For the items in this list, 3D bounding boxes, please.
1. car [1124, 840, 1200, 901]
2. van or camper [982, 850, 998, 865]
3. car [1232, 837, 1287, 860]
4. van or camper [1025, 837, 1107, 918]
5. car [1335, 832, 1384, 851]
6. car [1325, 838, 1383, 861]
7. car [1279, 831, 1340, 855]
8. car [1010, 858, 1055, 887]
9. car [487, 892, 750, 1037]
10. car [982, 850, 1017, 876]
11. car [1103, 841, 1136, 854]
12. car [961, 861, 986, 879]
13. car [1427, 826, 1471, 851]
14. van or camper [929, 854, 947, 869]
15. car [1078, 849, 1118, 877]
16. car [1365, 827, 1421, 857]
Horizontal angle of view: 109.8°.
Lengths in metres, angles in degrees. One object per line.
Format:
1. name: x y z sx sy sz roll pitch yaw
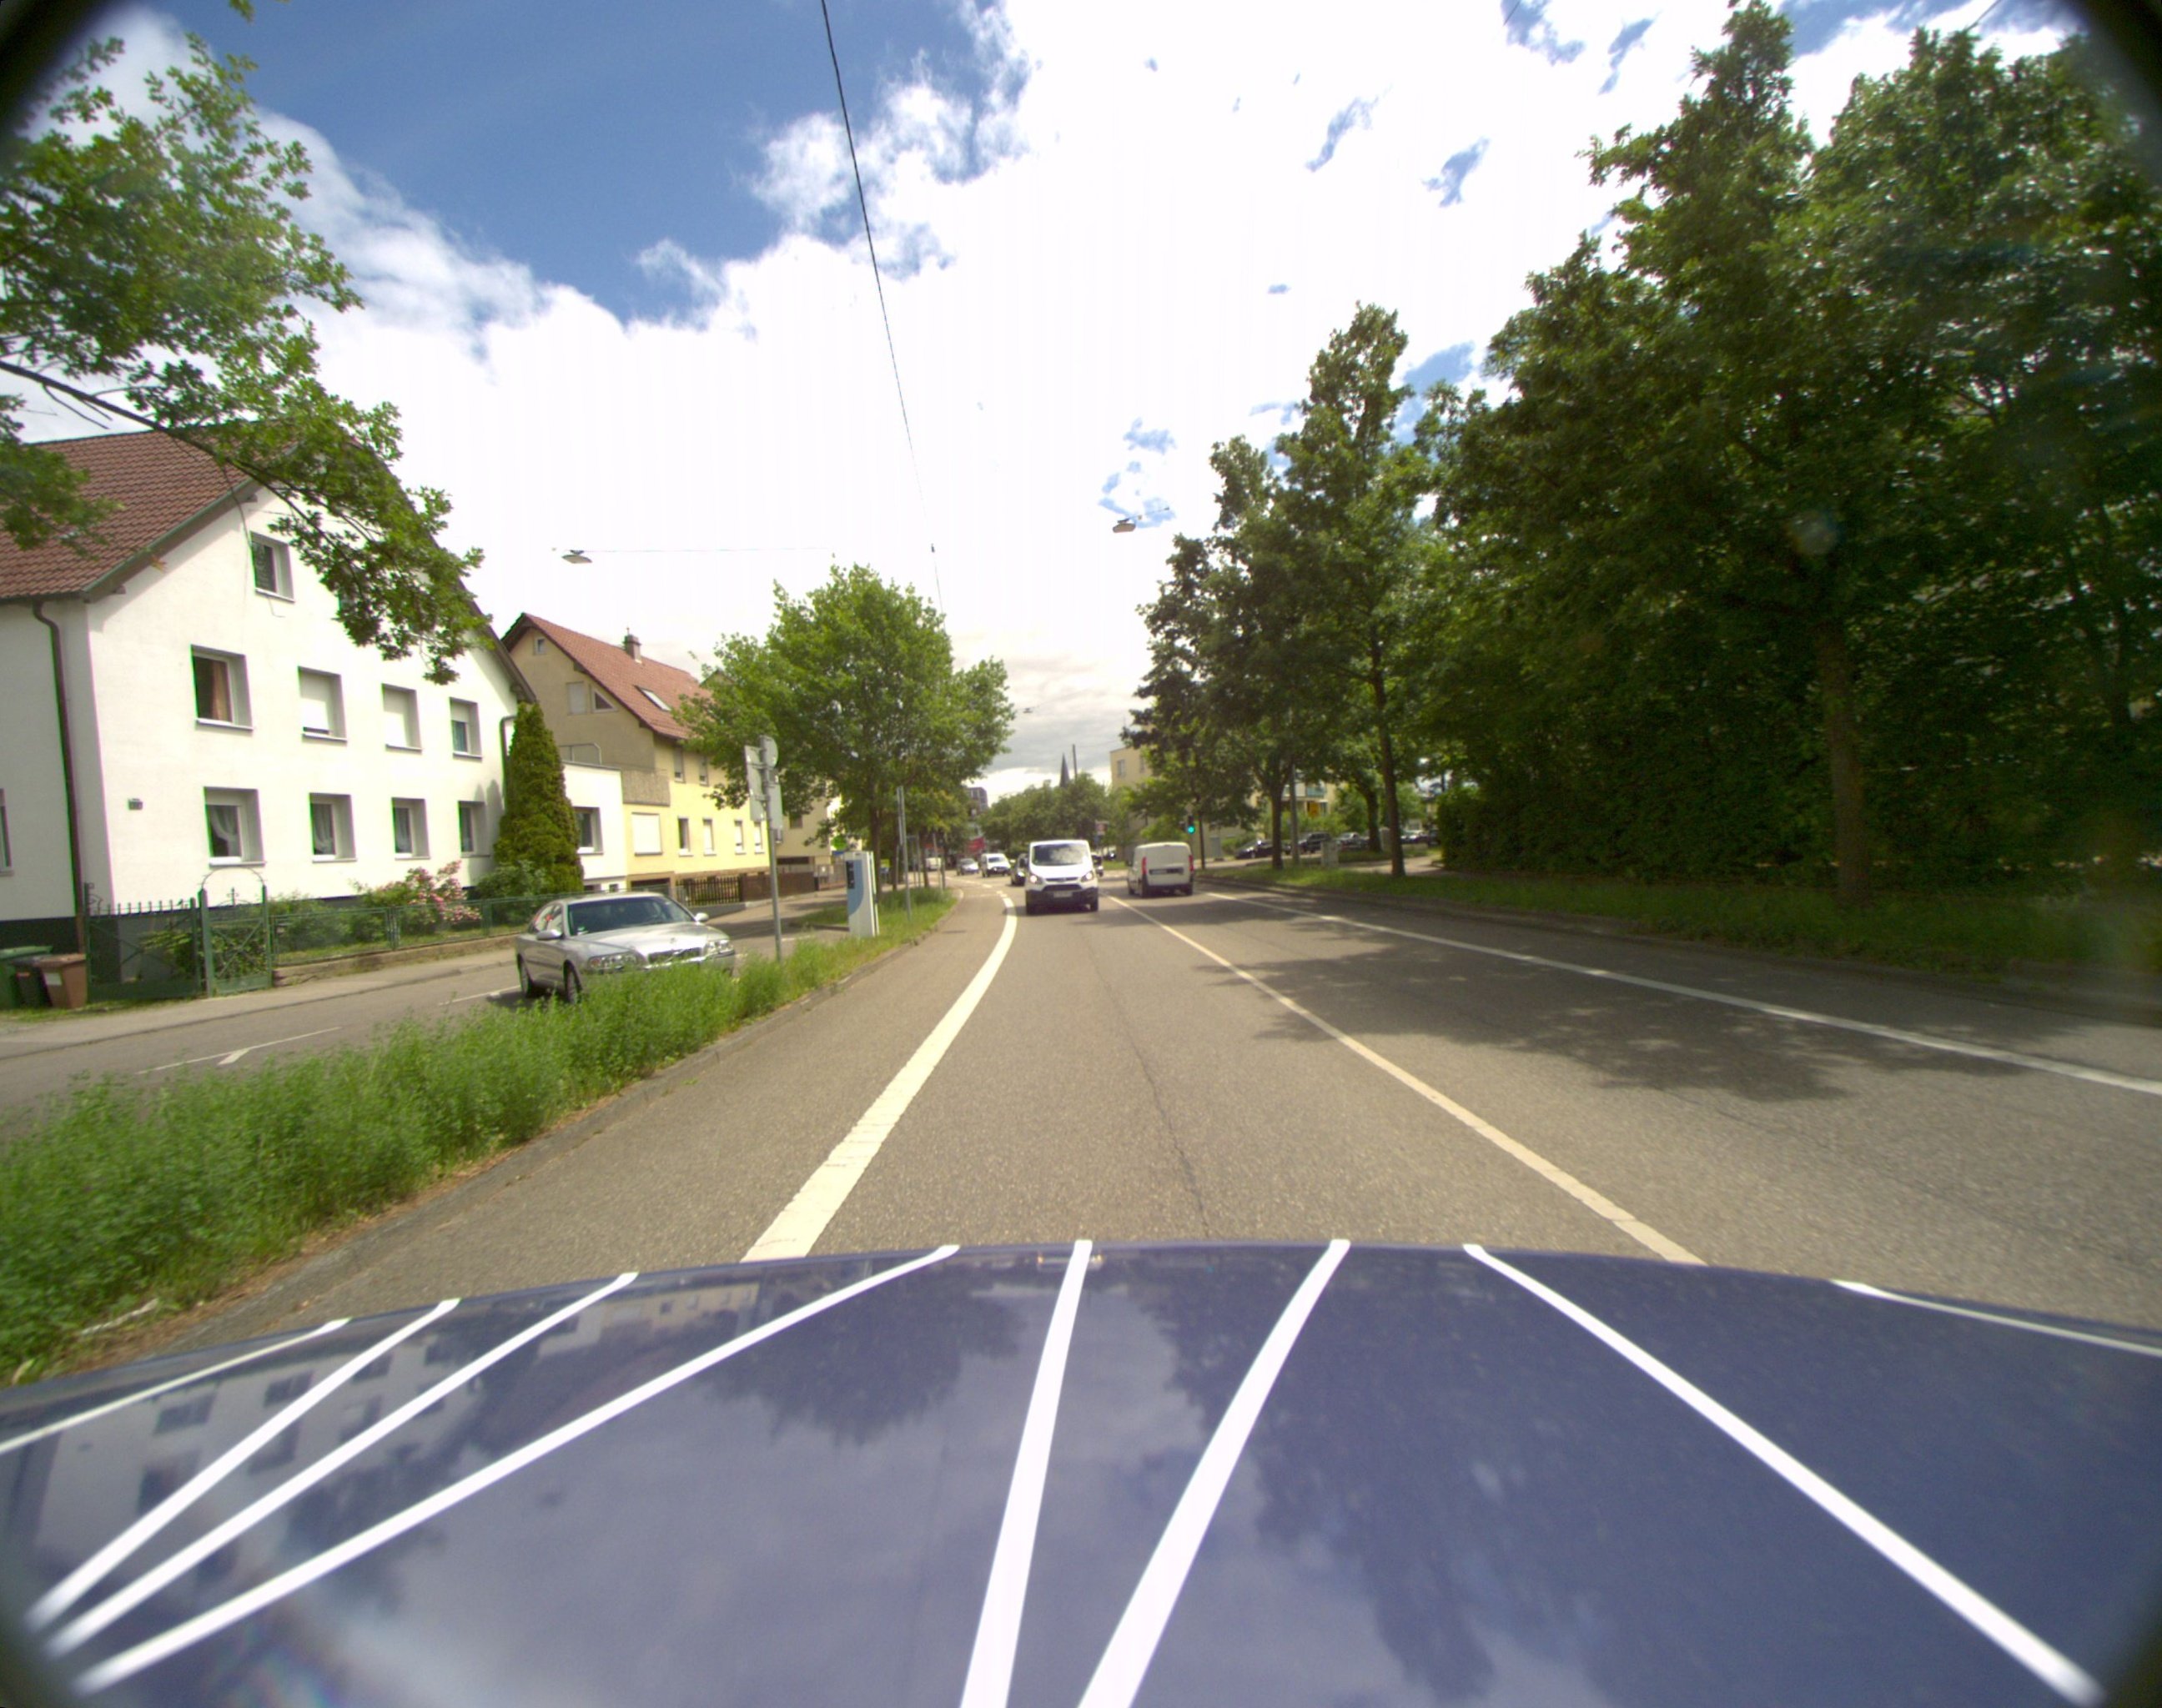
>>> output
1. car: 2.767 0.501 27.099 1.853 1.865 4.590 -2 2 -4
2. van or camper: -13.659 0.546 113.904 1.796 2.077 3.806 -6 2 -15
3. car: 14.420 -0.473 61.451 4.157 1.390 1.734 -7 3 -29
4. van or camper: -0.547 0.599 22.313 2.028 2.002 5.100 -3 1 -4
5. car: 25.128 -1.124 68.596 4.004 1.325 1.970 -7 3 -31
6. car: 19.442 -0.360 54.115 4.005 1.445 1.692 -4 4 -31
7. car: 19.179 -0.920 63.718 4.797 1.594 2.097 -6 4 -29
8. car: -2.686 1.007 41.167 1.842 1.382 3.997 -3 -1 -12
9. car: -6.632 1.381 10.638 4.677 1.443 1.771 -4 1 42
10. car: -6.451 0.683 59.935 1.854 1.806 3.994 -6 2 -16
11. car: 4.731 -0.832 93.402 1.789 1.411 4.008 -4 -1 44
12. car: -10.423 1.544 73.284 1.695 1.478 3.994 -6 2 -16
13. car: 30.714 -1.314 63.401 2.121 1.783 4.426 -3 1 41
14. van or camper: -19.094 0.971 101.379 1.867 1.766 4.375 -4 1 -15
15. car: 1.084 0.567 50.198 1.714 1.609 3.995 -5 1 -11
16. car: 23.297 -0.906 56.738 4.005 1.834 1.841 -6 2 -33
